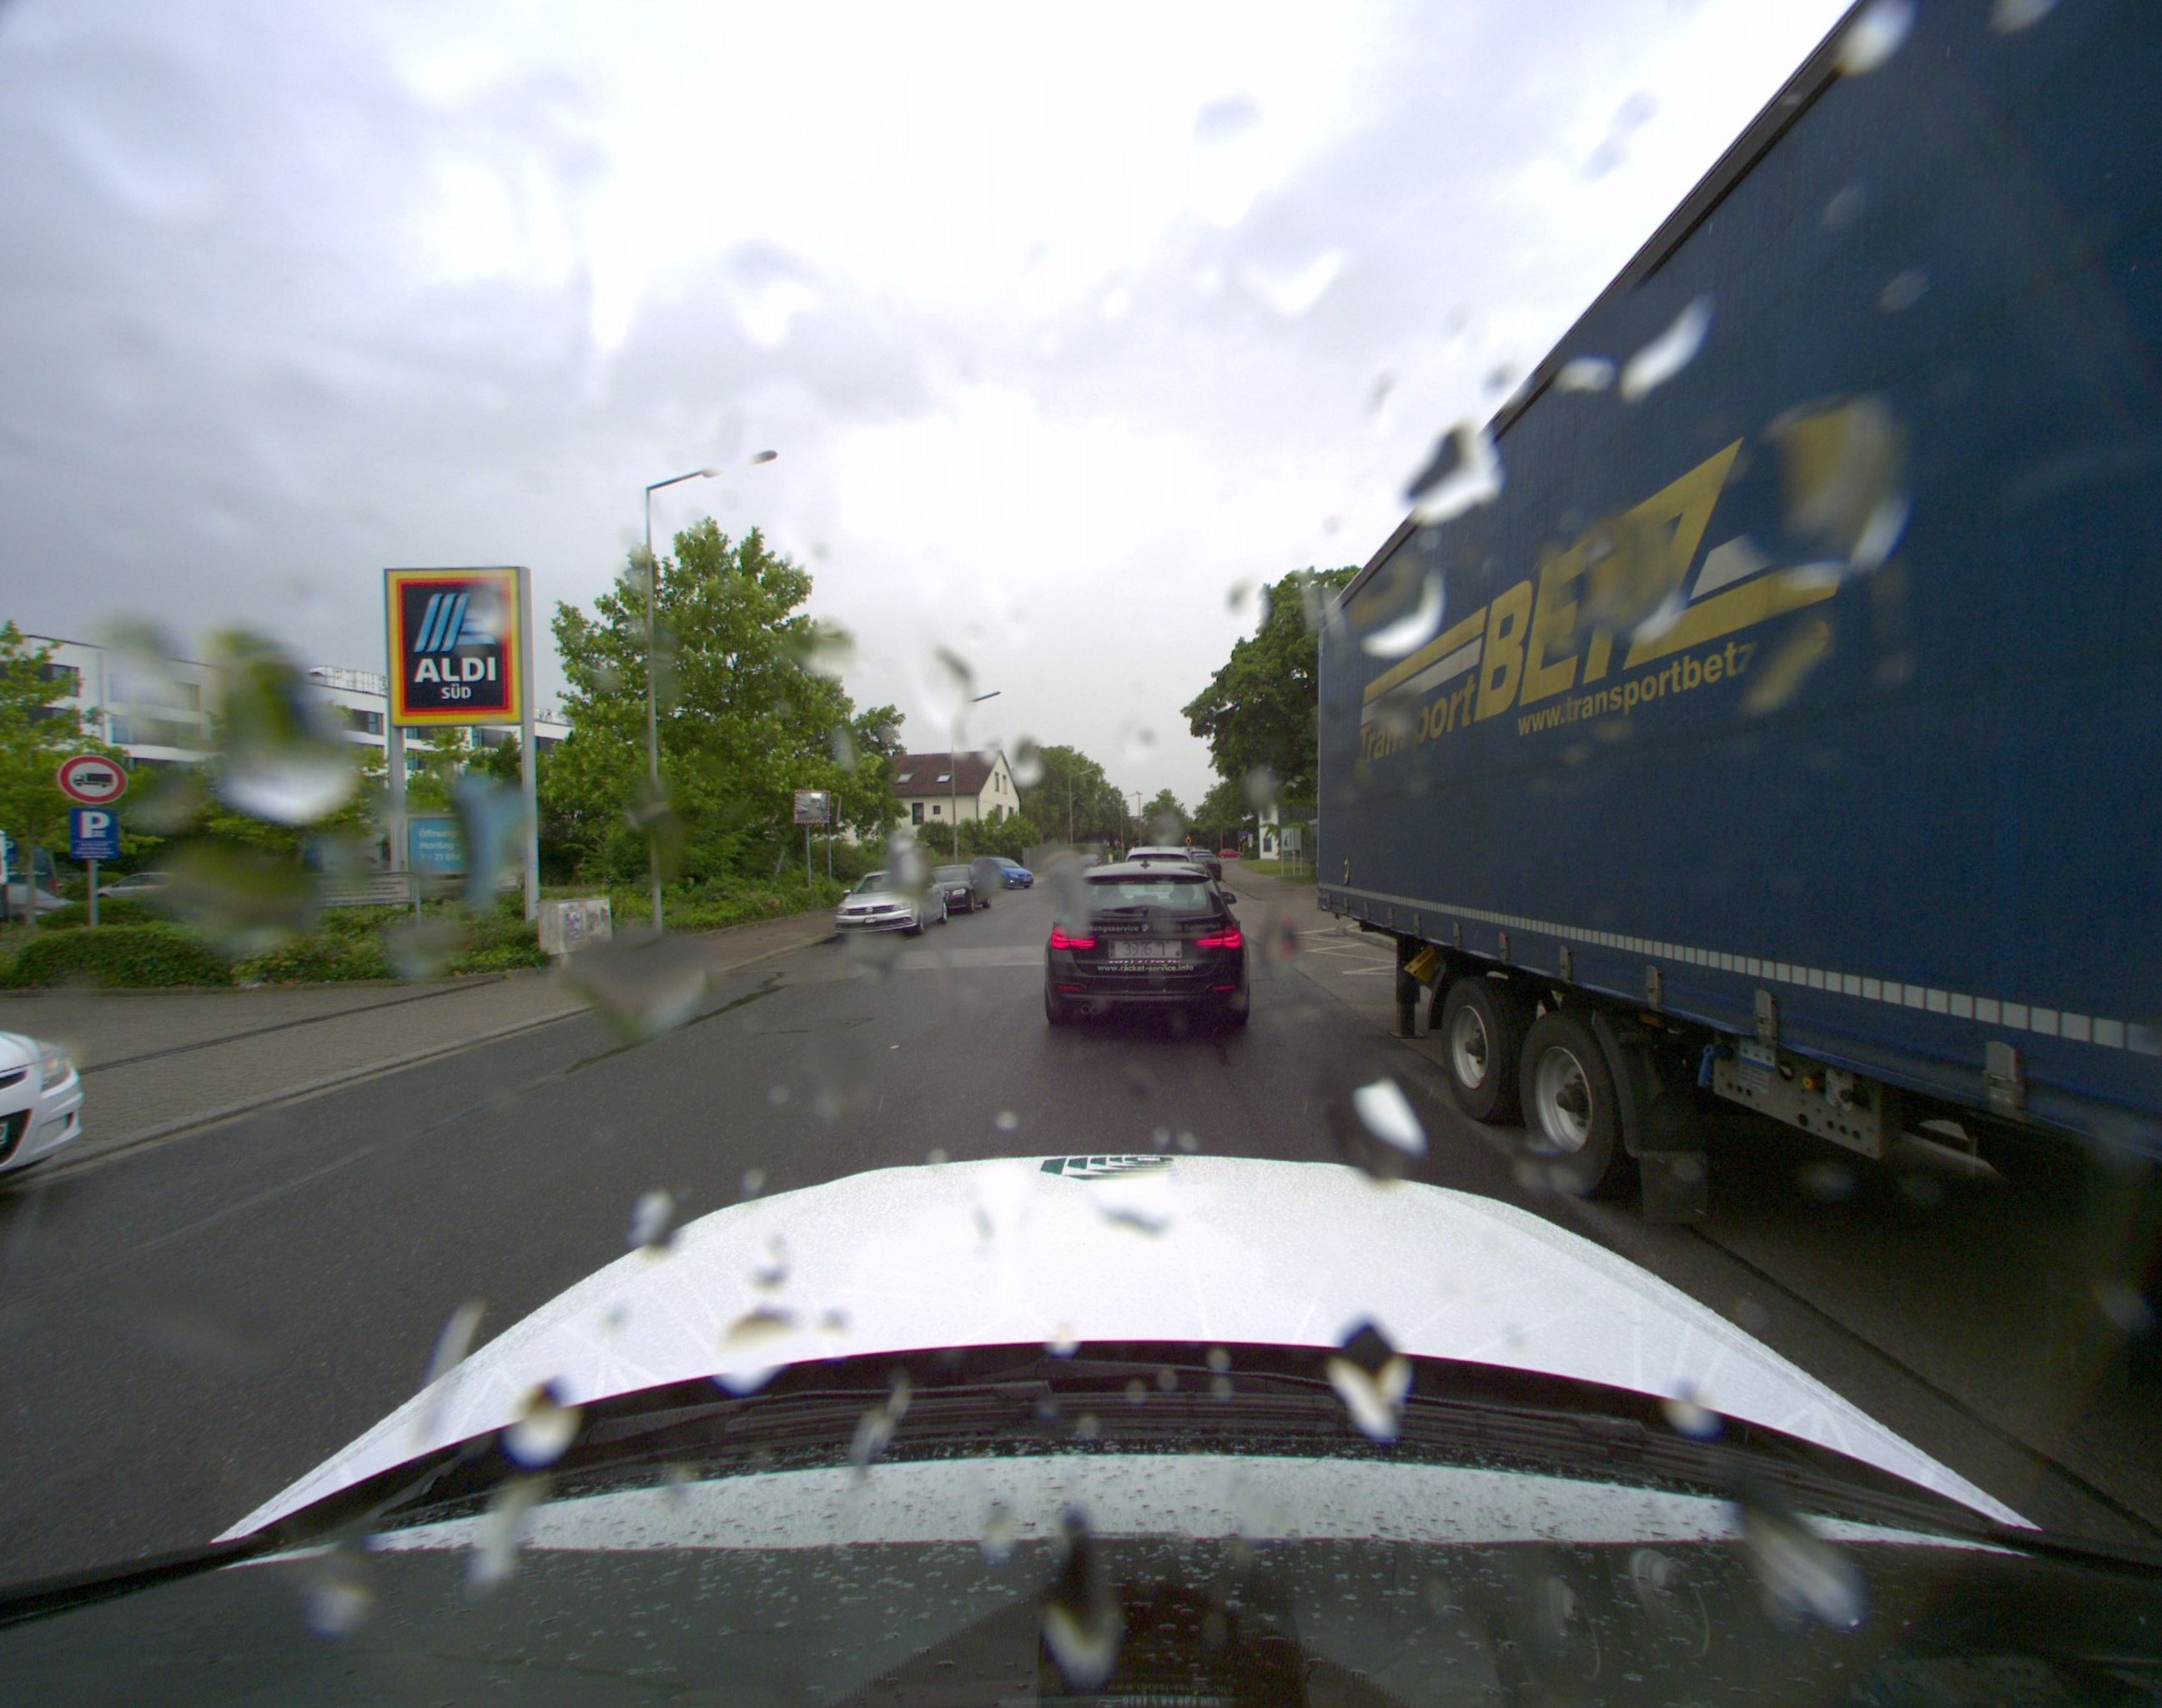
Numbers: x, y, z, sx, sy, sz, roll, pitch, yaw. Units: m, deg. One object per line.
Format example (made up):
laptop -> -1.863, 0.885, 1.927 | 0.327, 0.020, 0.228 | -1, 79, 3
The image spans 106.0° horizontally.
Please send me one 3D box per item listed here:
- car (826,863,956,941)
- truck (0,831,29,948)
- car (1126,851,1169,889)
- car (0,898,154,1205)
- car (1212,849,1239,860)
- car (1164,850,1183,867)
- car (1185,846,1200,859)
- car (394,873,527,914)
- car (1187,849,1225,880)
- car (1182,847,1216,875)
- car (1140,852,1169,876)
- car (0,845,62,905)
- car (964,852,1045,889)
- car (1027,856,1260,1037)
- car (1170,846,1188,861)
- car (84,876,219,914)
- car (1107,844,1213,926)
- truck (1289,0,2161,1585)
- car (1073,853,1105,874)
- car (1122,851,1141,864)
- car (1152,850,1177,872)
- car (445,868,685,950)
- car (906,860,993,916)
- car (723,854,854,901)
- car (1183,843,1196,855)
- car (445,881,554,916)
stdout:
car -> -4.137, 0.979, 18.532 | 1.699, 1.367, 4.602 | -4, 0, 1
truck -> -25.504, 0.842, 15.775 | 1.988, 2.657, 6.393 | -2, 0, -1
car -> 2.968, 0.679, 36.262 | 1.796, 1.586, 4.005 | -1, 0, 5
car -> -7.347, 1.008, 3.653 | 4.182, 1.460, 1.710 | -1, 0, -4
car -> 21.669, 0.096, 121.916 | 3.799, 1.586, 1.717 | -2, 0, 12
car -> 8.920, 0.404, 78.356 | 1.794, 1.586, 4.008 | -1, 0, 7
car -> 14.129, -0.144, 103.385 | 1.795, 1.586, 4.008 | -1, 0, 7
car -> -25.850, 1.621, 34.032 | 3.973, 1.499, 2.000 | -2, 0, 1
car -> 6.781, 0.570, 44.651 | 1.796, 1.586, 4.005 | -1, 0, 5
car -> 7.232, 0.427, 50.179 | 1.796, 1.586, 4.005 | -1, 0, 5
car -> 5.065, 0.651, 55.779 | 1.794, 1.586, 4.008 | -1, 0, 7
car -> -41.970, 0.825, 30.295 | 1.987, 2.297, 4.813 | -2, 0, 0
car -> -3.801, 0.829, 40.063 | 3.788, 1.594, 1.722 | -4, 0, 41
car -> 0.587, 0.737, 8.357 | 1.797, 1.395, 4.003 | -1, 0, 3
car -> 10.280, -0.061, 85.661 | 1.795, 1.586, 4.008 | -1, 0, 7
car -> -43.342, 1.890, 38.050 | 3.973, 1.529, 2.000 | -2, 0, 1
car -> 1.637, 0.625, 18.156 | 1.800, 1.586, 3.996 | -1, 0, -3
truck -> 3.378, -0.517, 4.453 | 2.730, 3.611, 7.753 | 1, 0, 2
car -> 0.609, 0.710, 60.974 | 1.695, 1.367, 3.849 | -4, 0, 10
car -> 5.765, 0.366, 92.492 | 1.695, 1.367, 3.849 | -4, 0, 10
car -> 6.469, 0.523, 62.750 | 1.794, 1.586, 4.008 | -1, 0, 7
car -> -9.955, 1.028, 15.900 | 3.557, 1.460, 1.712 | 0, 0, 0
car -> -3.790, 0.943, 24.150 | 1.699, 1.367, 3.841 | -4, 0, 3
car -> -10.422, 0.805, 29.242 | 3.974, 1.540, 1.910 | -1, 0, 0
car -> 15.413, -0.676, 115.533 | 1.795, 1.586, 4.008 | -1, 0, 7
car -> -29.221, 2.202, 40.997 | 3.973, 1.529, 2.000 | -2, 0, 1
